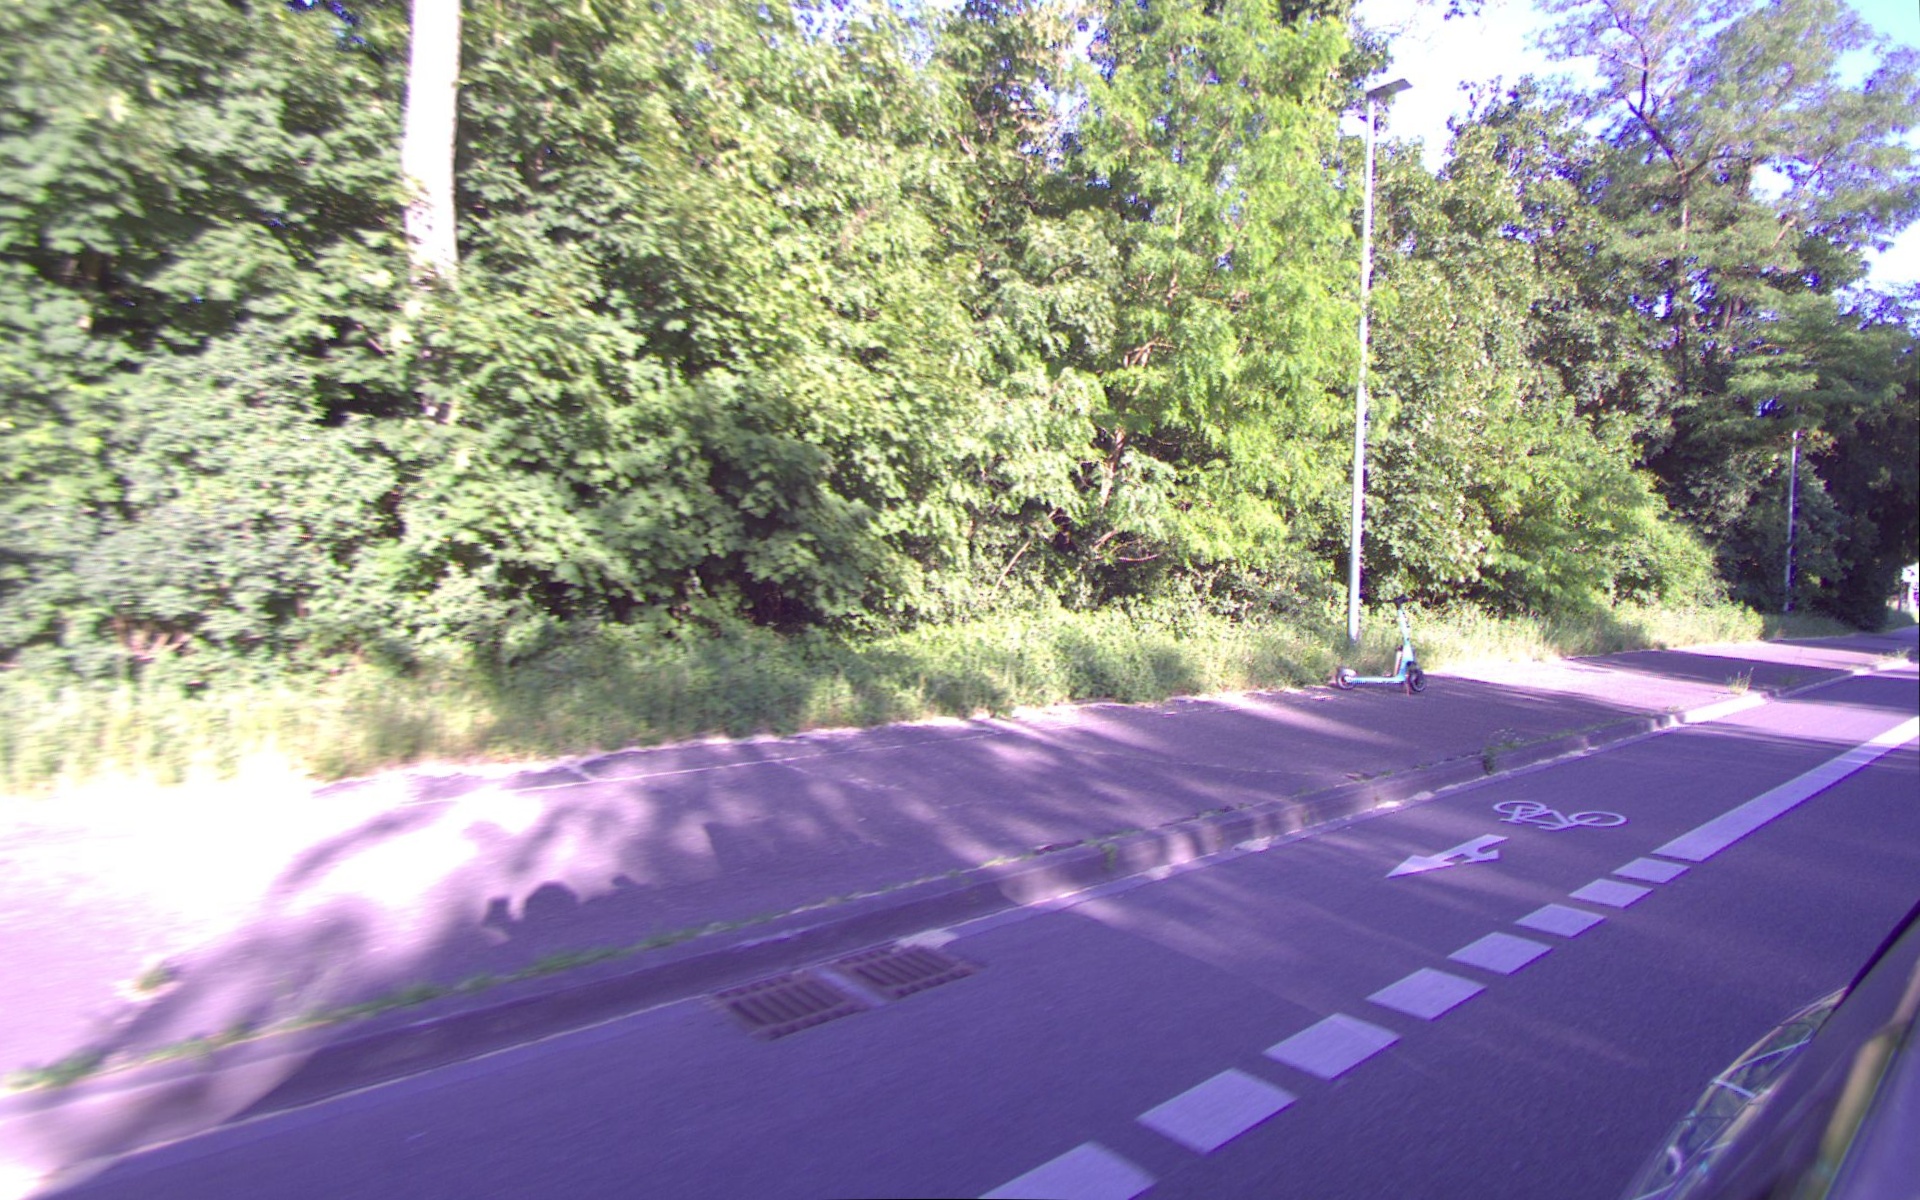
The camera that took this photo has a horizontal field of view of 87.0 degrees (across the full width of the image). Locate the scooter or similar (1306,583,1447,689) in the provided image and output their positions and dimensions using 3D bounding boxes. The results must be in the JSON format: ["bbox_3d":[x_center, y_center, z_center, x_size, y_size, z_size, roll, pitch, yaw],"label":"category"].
[{"bbox_3d":[5.288,0.441,12.910,1.515,1.265,0.534,2,2,7],"label":"scooter or similar"}]
